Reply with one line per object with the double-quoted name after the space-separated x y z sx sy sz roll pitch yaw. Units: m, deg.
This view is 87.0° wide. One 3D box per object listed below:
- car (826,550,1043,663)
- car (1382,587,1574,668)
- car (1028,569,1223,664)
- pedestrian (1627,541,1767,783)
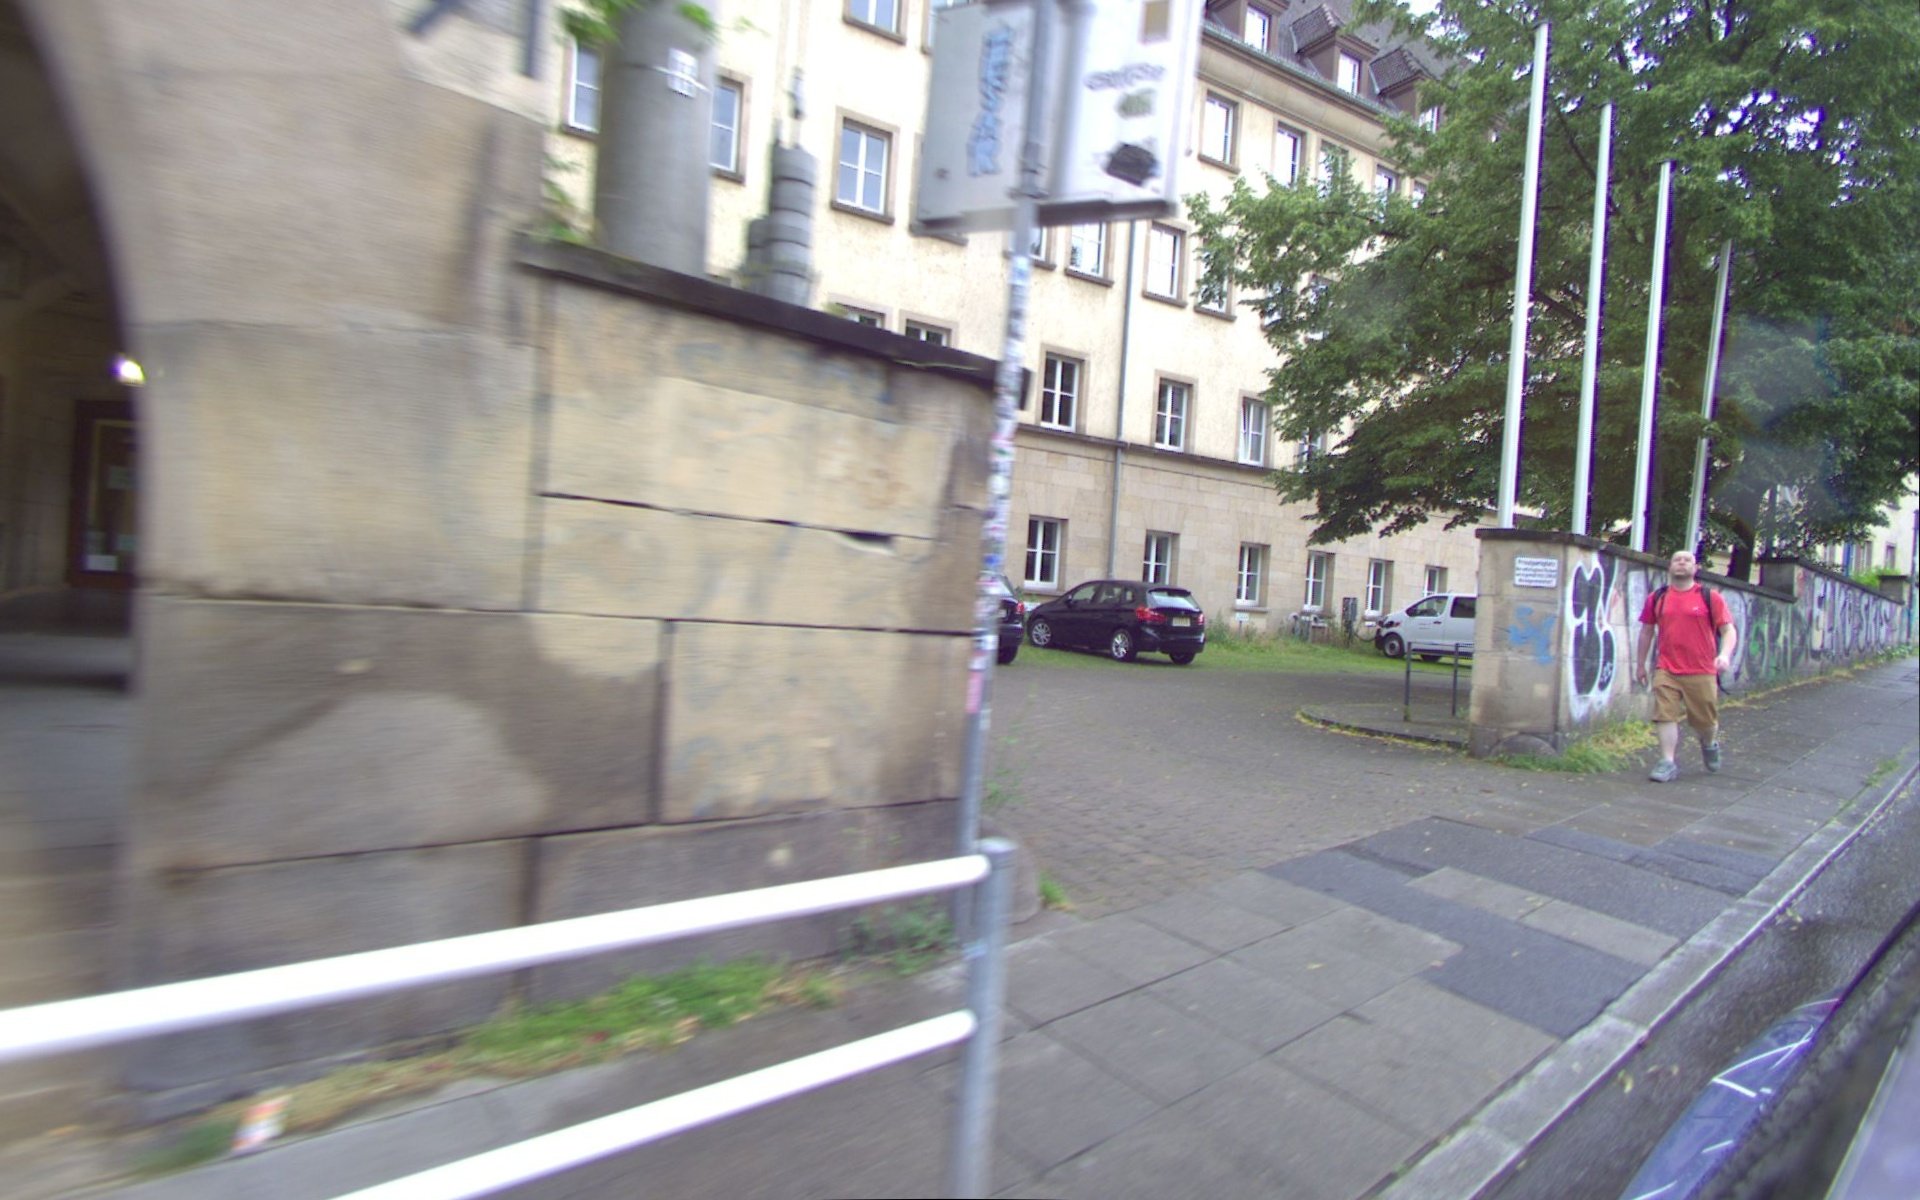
-0.611 0.033 18.006 1.759 1.607 4.471 3 2 -32 "car"
13.367 0.639 26.367 1.759 1.815 4.144 1 2 -29 "car"
3.218 0.275 20.429 1.597 1.516 3.953 4 2 -32 "car"
5.663 0.438 7.783 0.698 1.742 0.634 0 3 -39 "pedestrian"
